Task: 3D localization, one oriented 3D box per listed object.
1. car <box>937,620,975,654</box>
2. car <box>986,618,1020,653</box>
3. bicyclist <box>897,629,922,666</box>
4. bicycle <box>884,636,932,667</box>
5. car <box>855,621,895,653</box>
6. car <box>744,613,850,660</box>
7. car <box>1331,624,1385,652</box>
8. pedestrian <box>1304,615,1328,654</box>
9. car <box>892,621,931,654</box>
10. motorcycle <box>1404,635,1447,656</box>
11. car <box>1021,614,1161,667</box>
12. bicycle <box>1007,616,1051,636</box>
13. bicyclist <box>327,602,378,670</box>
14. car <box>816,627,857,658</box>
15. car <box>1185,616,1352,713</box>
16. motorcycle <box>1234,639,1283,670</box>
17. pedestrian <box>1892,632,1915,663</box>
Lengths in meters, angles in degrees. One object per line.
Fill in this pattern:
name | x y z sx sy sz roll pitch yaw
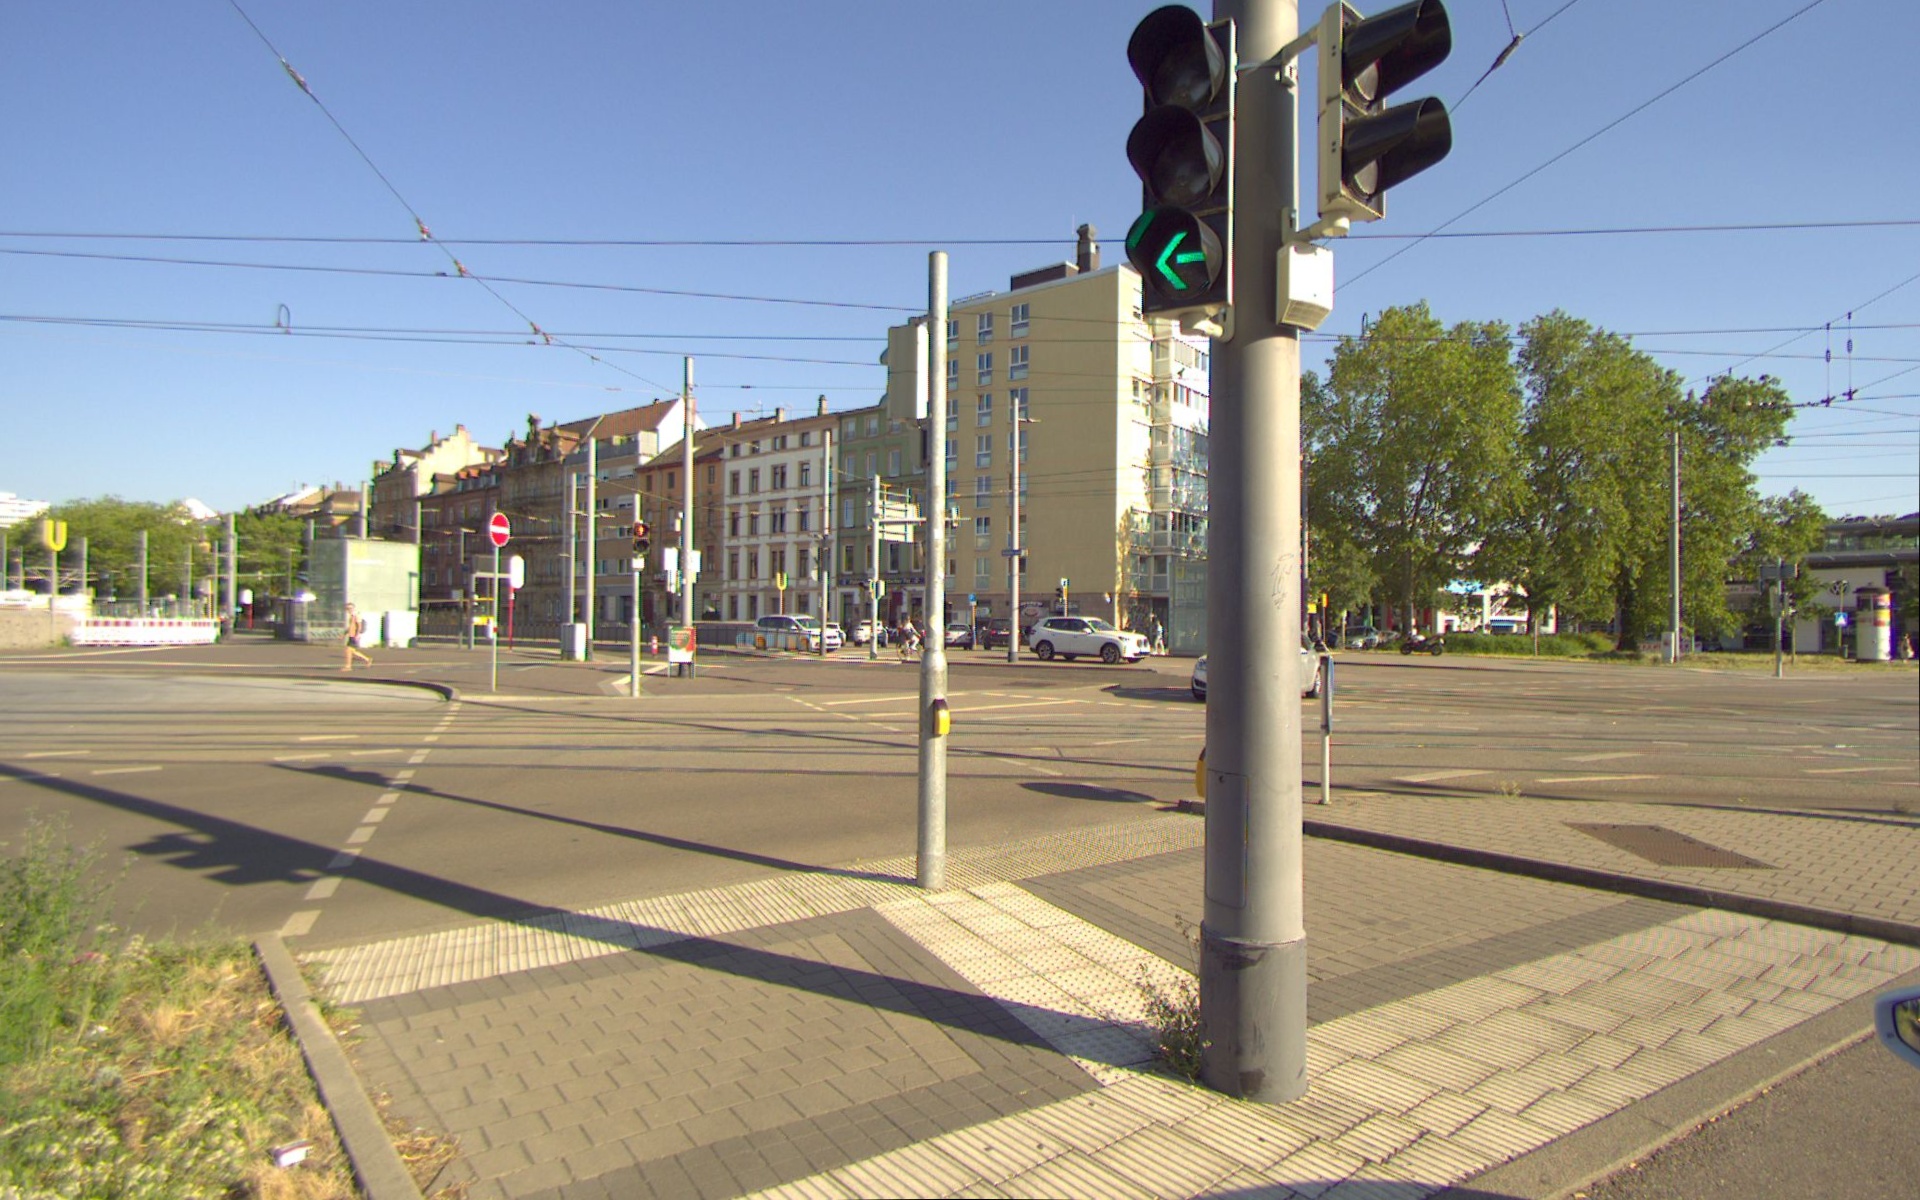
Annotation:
car | -0.180 2.073 56.864 1.960 1.728 4.000 2 0 1
car | 2.321 1.887 55.024 1.685 1.728 4.001 2 0 1
bicyclist | -1.928 1.785 38.002 0.617 1.368 0.659 2 0 42
bicycle | -1.946 1.932 37.998 0.616 1.104 1.915 2 0 41
car | -5.109 2.208 61.088 1.960 1.728 4.000 2 0 1
car | -7.527 1.638 46.138 4.833 1.848 1.992 2 0 38
car | 24.811 2.349 62.484 1.751 1.588 3.977 2 0 43
pedestrian | 17.977 1.741 50.782 0.748 1.911 0.792 2 0 -25
car | -2.816 2.168 58.981 1.960 1.728 4.000 2 0 1
motorcycle | 22.546 2.182 48.671 1.751 0.926 0.676 2 0 38
car | 4.851 1.487 37.524 4.832 1.848 1.993 -1 -3 37
bicycle | 4.353 1.647 63.948 3.001 1.167 0.637 2 0 41
bicyclist | -15.780 0.929 26.108 0.653 1.706 0.980 2 0 -1
car | -7.789 2.662 63.551 1.960 1.728 4.000 2 0 1
car | 6.387 1.232 20.452 1.757 1.684 4.703 2 0 36
motorcycle | 19.399 3.518 65.310 2.644 1.793 1.349 2 0 43
pedestrian | 55.073 2.768 58.641 0.492 1.716 0.851 2 0 -34
